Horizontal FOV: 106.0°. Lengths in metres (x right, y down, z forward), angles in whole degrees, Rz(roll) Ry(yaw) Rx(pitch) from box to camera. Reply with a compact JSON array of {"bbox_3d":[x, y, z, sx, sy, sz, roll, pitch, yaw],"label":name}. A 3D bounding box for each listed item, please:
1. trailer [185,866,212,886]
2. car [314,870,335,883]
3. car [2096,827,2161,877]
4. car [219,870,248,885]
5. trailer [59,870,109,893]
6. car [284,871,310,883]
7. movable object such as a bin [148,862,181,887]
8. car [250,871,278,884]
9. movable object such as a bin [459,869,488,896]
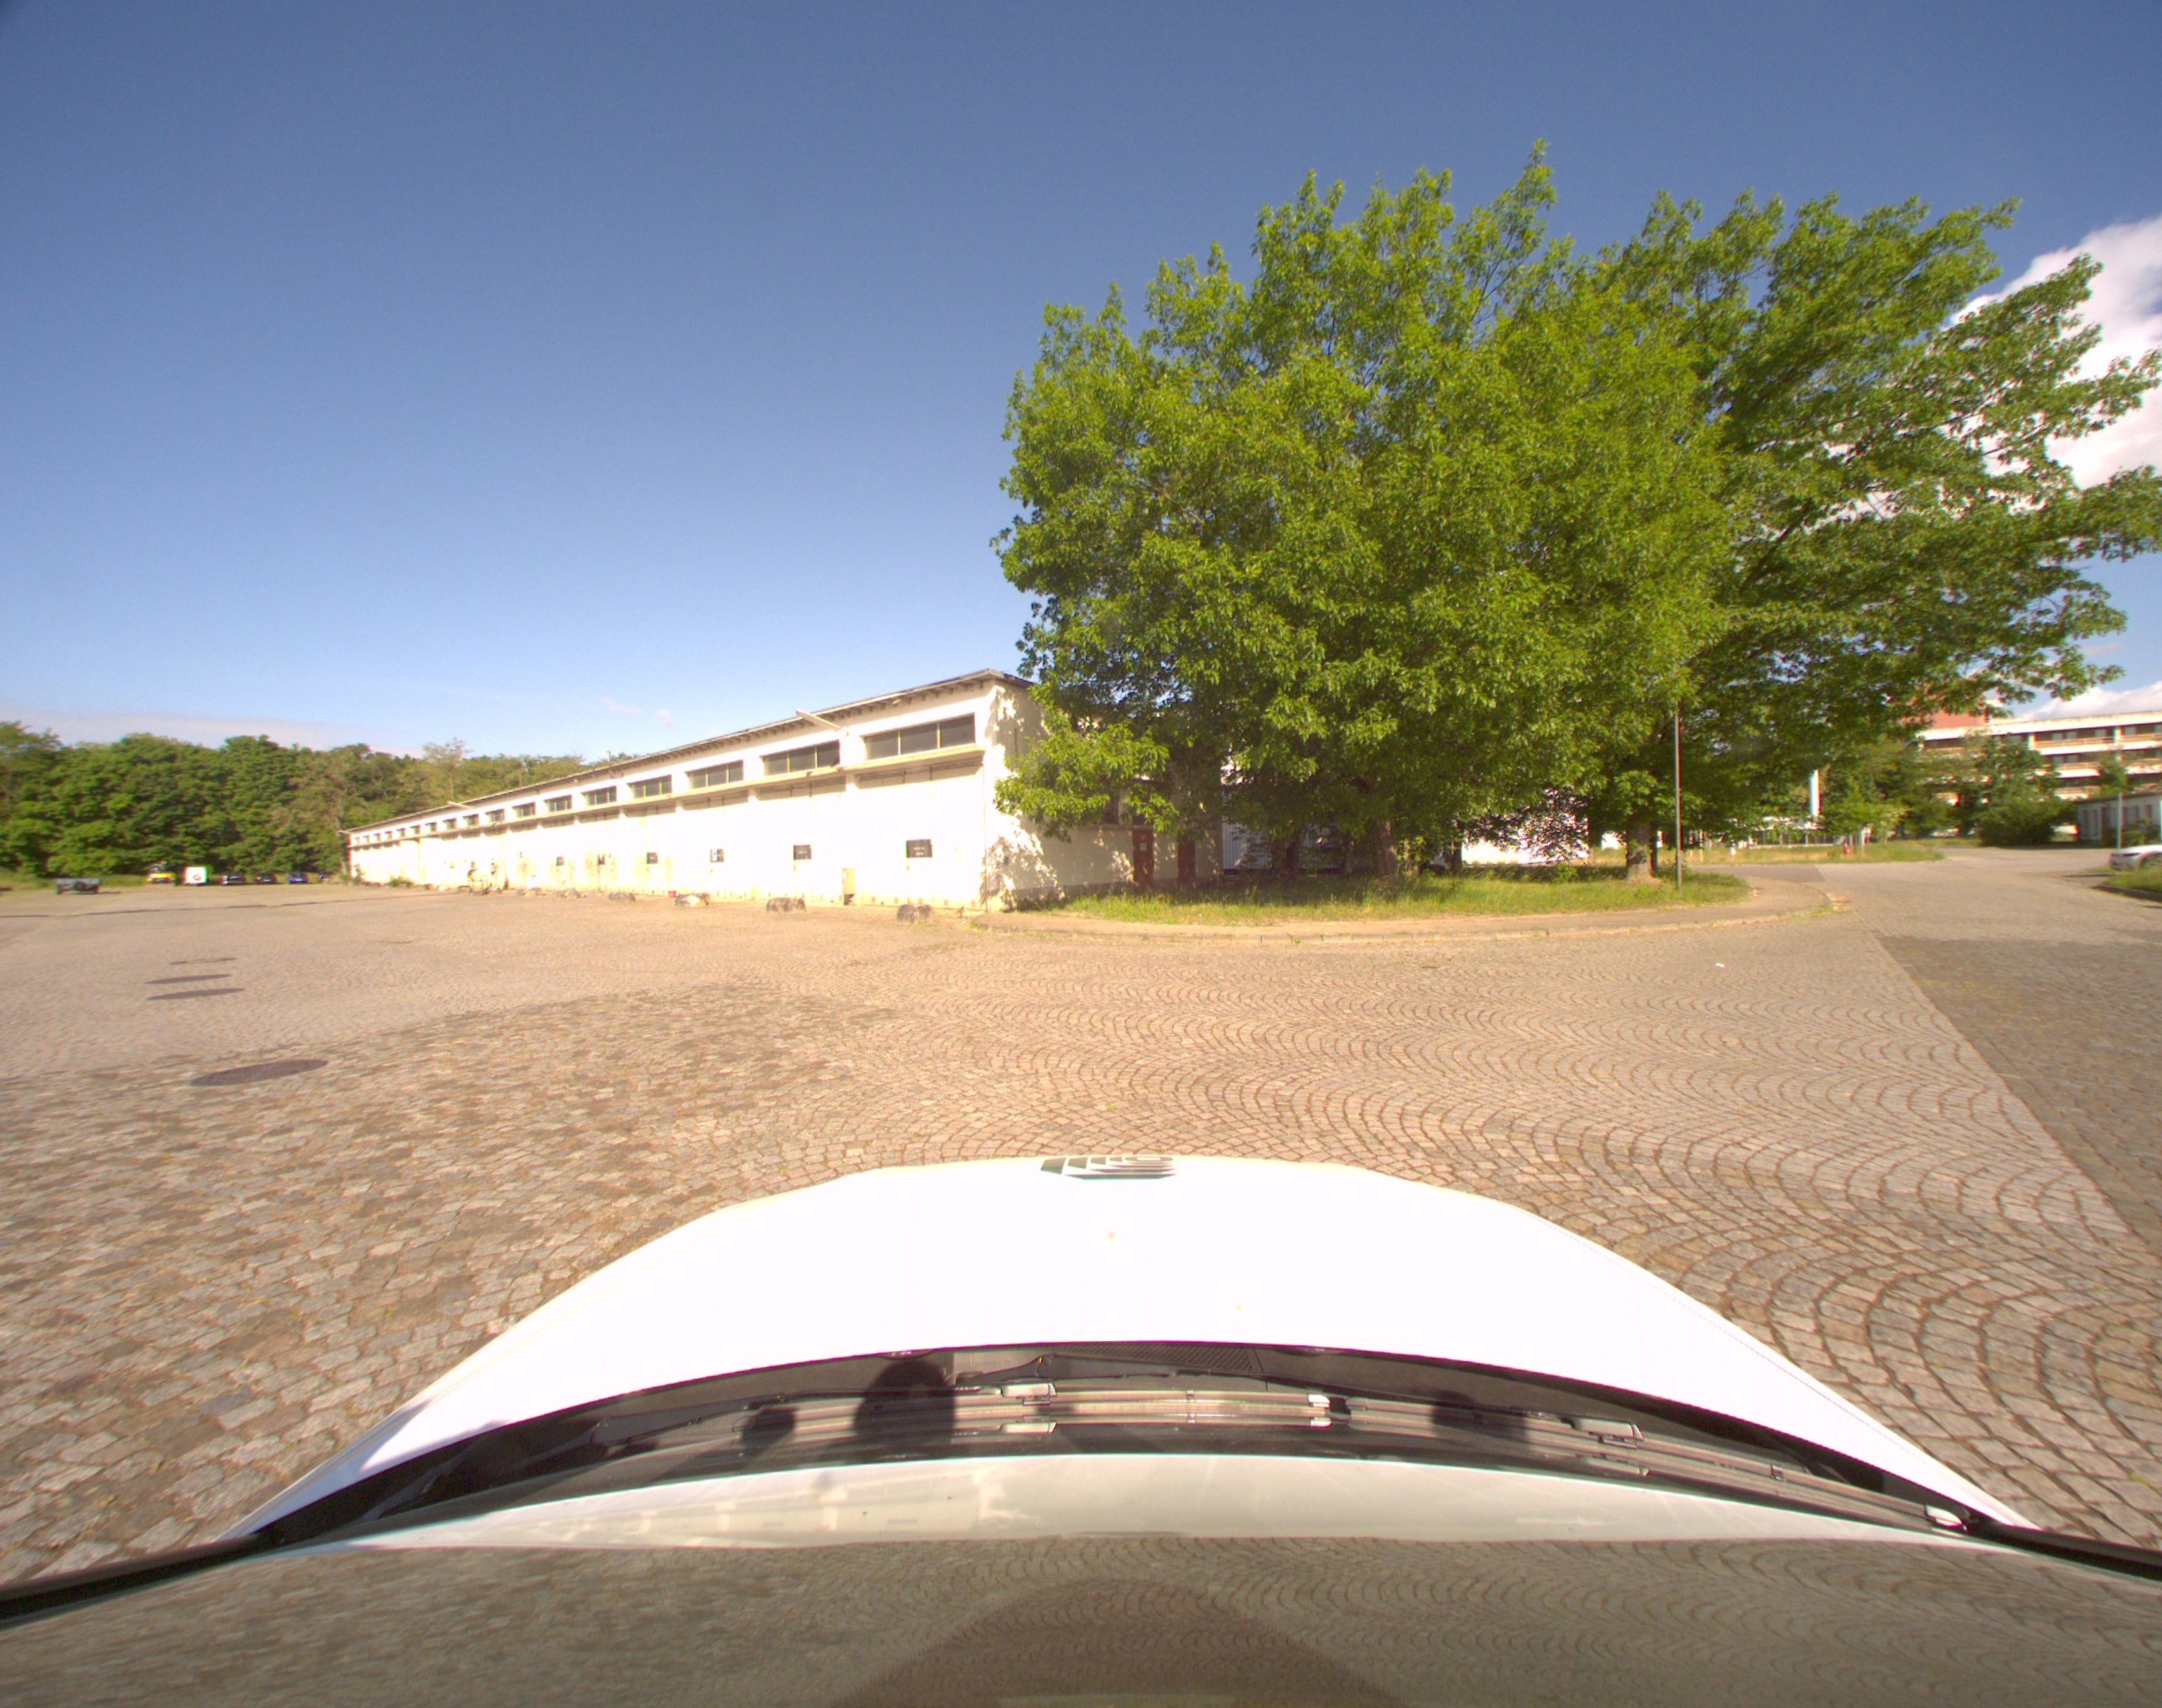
[{"bbox_3d":[-98.507,2.423,90.935,1.810,2.090,3.922,-1,0,-44],"label":"trailer"},{"bbox_3d":[-91.513,2.723,98.559,1.700,1.563,3.952,-1,0,-41],"label":"car"},{"bbox_3d":[37.686,-0.107,27.146,4.544,1.677,1.886,-1,0,41],"label":"car"},{"bbox_3d":[-95.499,2.669,91.792,1.877,1.585,3.952,-1,0,-41],"label":"car"},{"bbox_3d":[-89.213,2.469,72.939,4.120,2.014,2.429,-1,-2,44],"label":"trailer"},{"bbox_3d":[-92.319,2.714,95.872,2.011,1.420,3.952,-1,-1,-41],"label":"car"},{"bbox_3d":[-100.382,2.242,89.236,2.011,2.618,3.950,2,-2,-44],"label":"movable object such as a bin"},{"bbox_3d":[-94.009,2.699,93.752,2.011,1.462,3.952,-1,0,-41],"label":"car"},{"bbox_3d":[-30.546,1.422,40.930,1.264,1.331,0.831,-2,0,37],"label":"movable object such as a bin"}]
